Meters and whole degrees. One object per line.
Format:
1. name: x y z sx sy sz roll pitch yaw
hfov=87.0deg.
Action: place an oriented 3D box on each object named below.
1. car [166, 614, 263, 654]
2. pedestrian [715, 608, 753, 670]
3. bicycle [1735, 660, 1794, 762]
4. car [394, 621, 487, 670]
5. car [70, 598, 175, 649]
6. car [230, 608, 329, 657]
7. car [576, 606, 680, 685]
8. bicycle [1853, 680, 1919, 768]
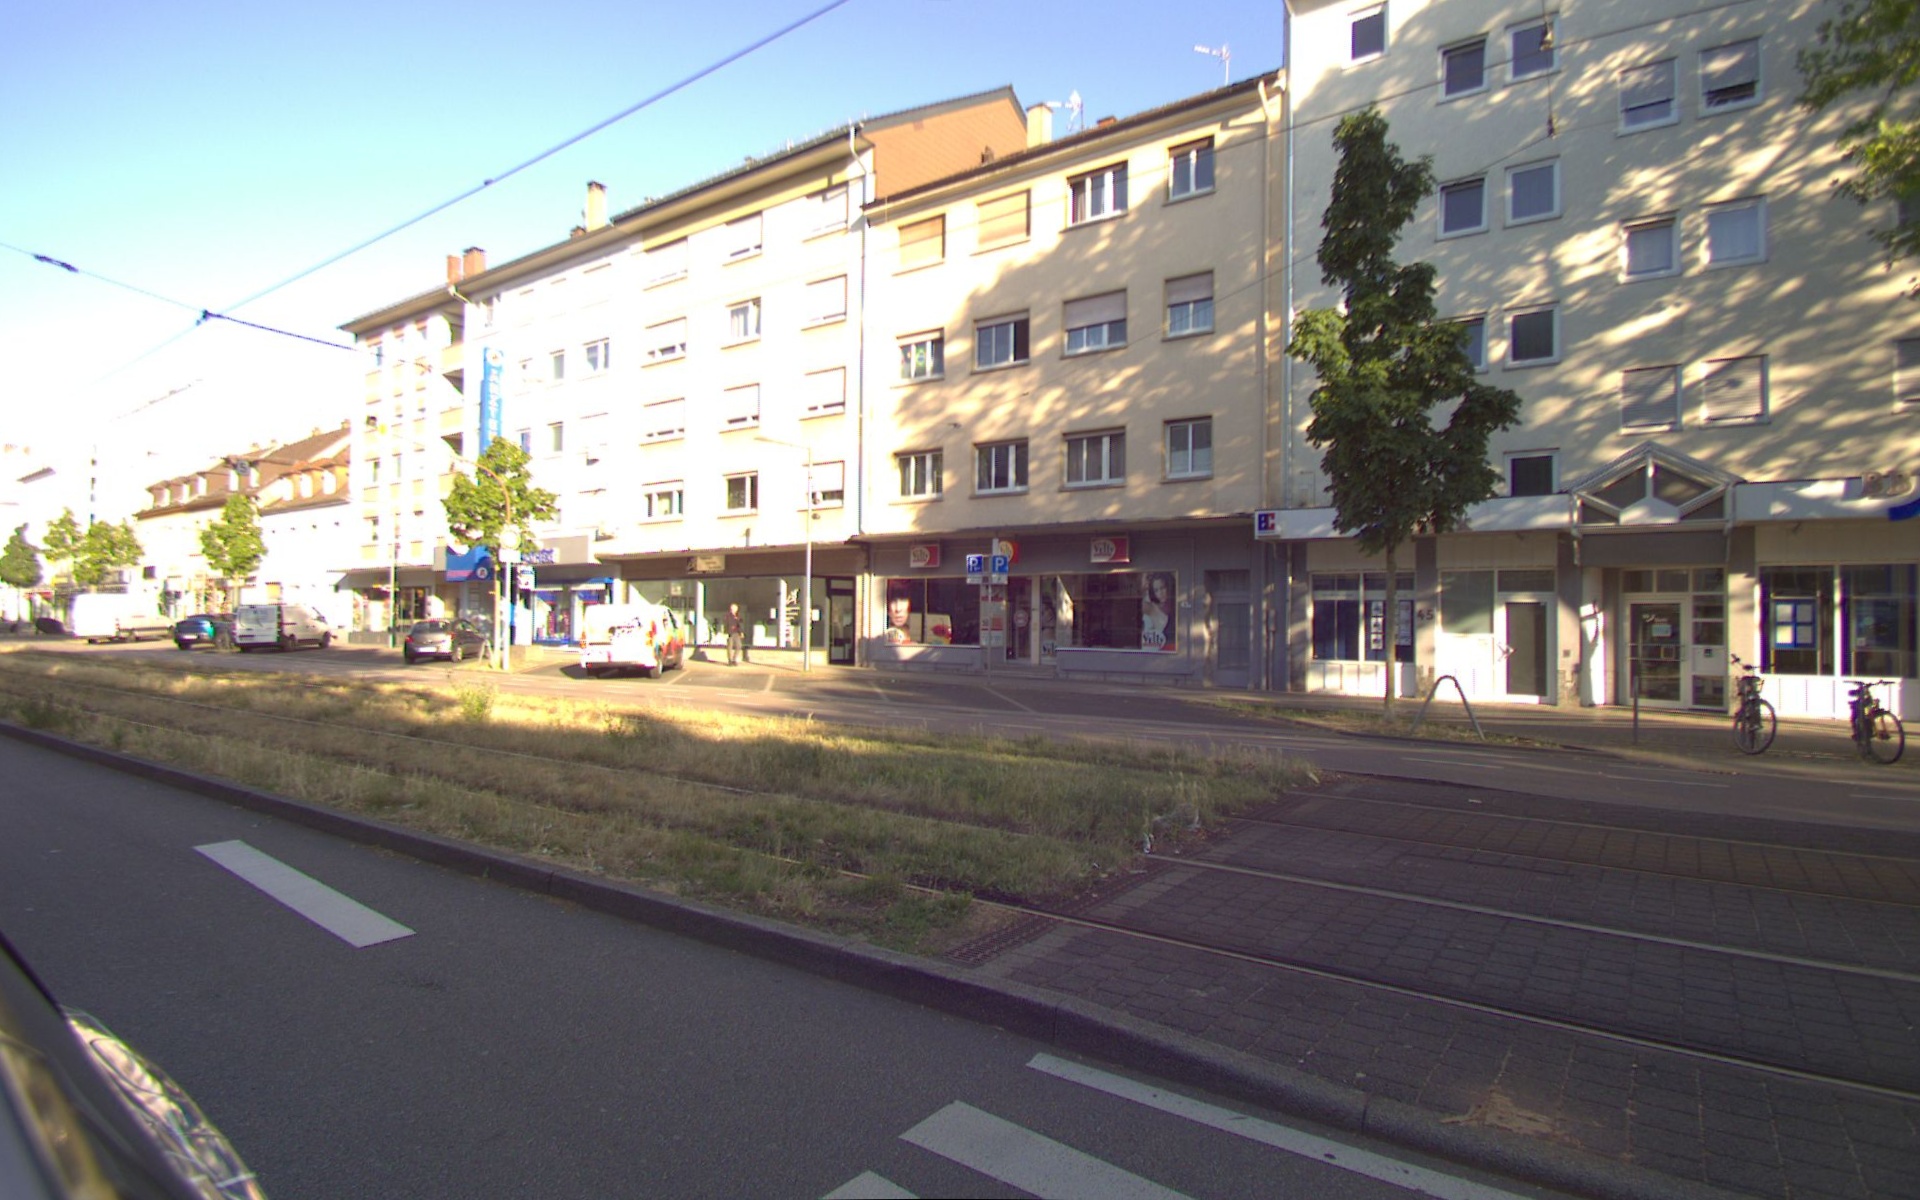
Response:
1. car: -34.284 1.510 46.659 1.830 1.727 3.919 0 0 -4
2. pedestrian: -6.754 1.153 30.283 0.746 1.841 0.918 1 -1 -44
3. bicycle: 10.296 1.383 12.986 0.511 1.147 1.724 -1 -1 36
4. car: -17.551 1.499 34.393 1.708 1.508 4.009 0 0 -10
5. car: -45.369 1.219 55.049 1.895 2.634 6.608 0 0 -16
6. car: -28.624 1.307 42.761 1.828 1.952 4.514 0 0 -10
7. car: -8.784 1.150 27.129 1.830 1.913 4.005 0 0 -6
8. bicycle: 11.330 1.485 12.365 0.471 0.895 1.724 -1 -1 36
